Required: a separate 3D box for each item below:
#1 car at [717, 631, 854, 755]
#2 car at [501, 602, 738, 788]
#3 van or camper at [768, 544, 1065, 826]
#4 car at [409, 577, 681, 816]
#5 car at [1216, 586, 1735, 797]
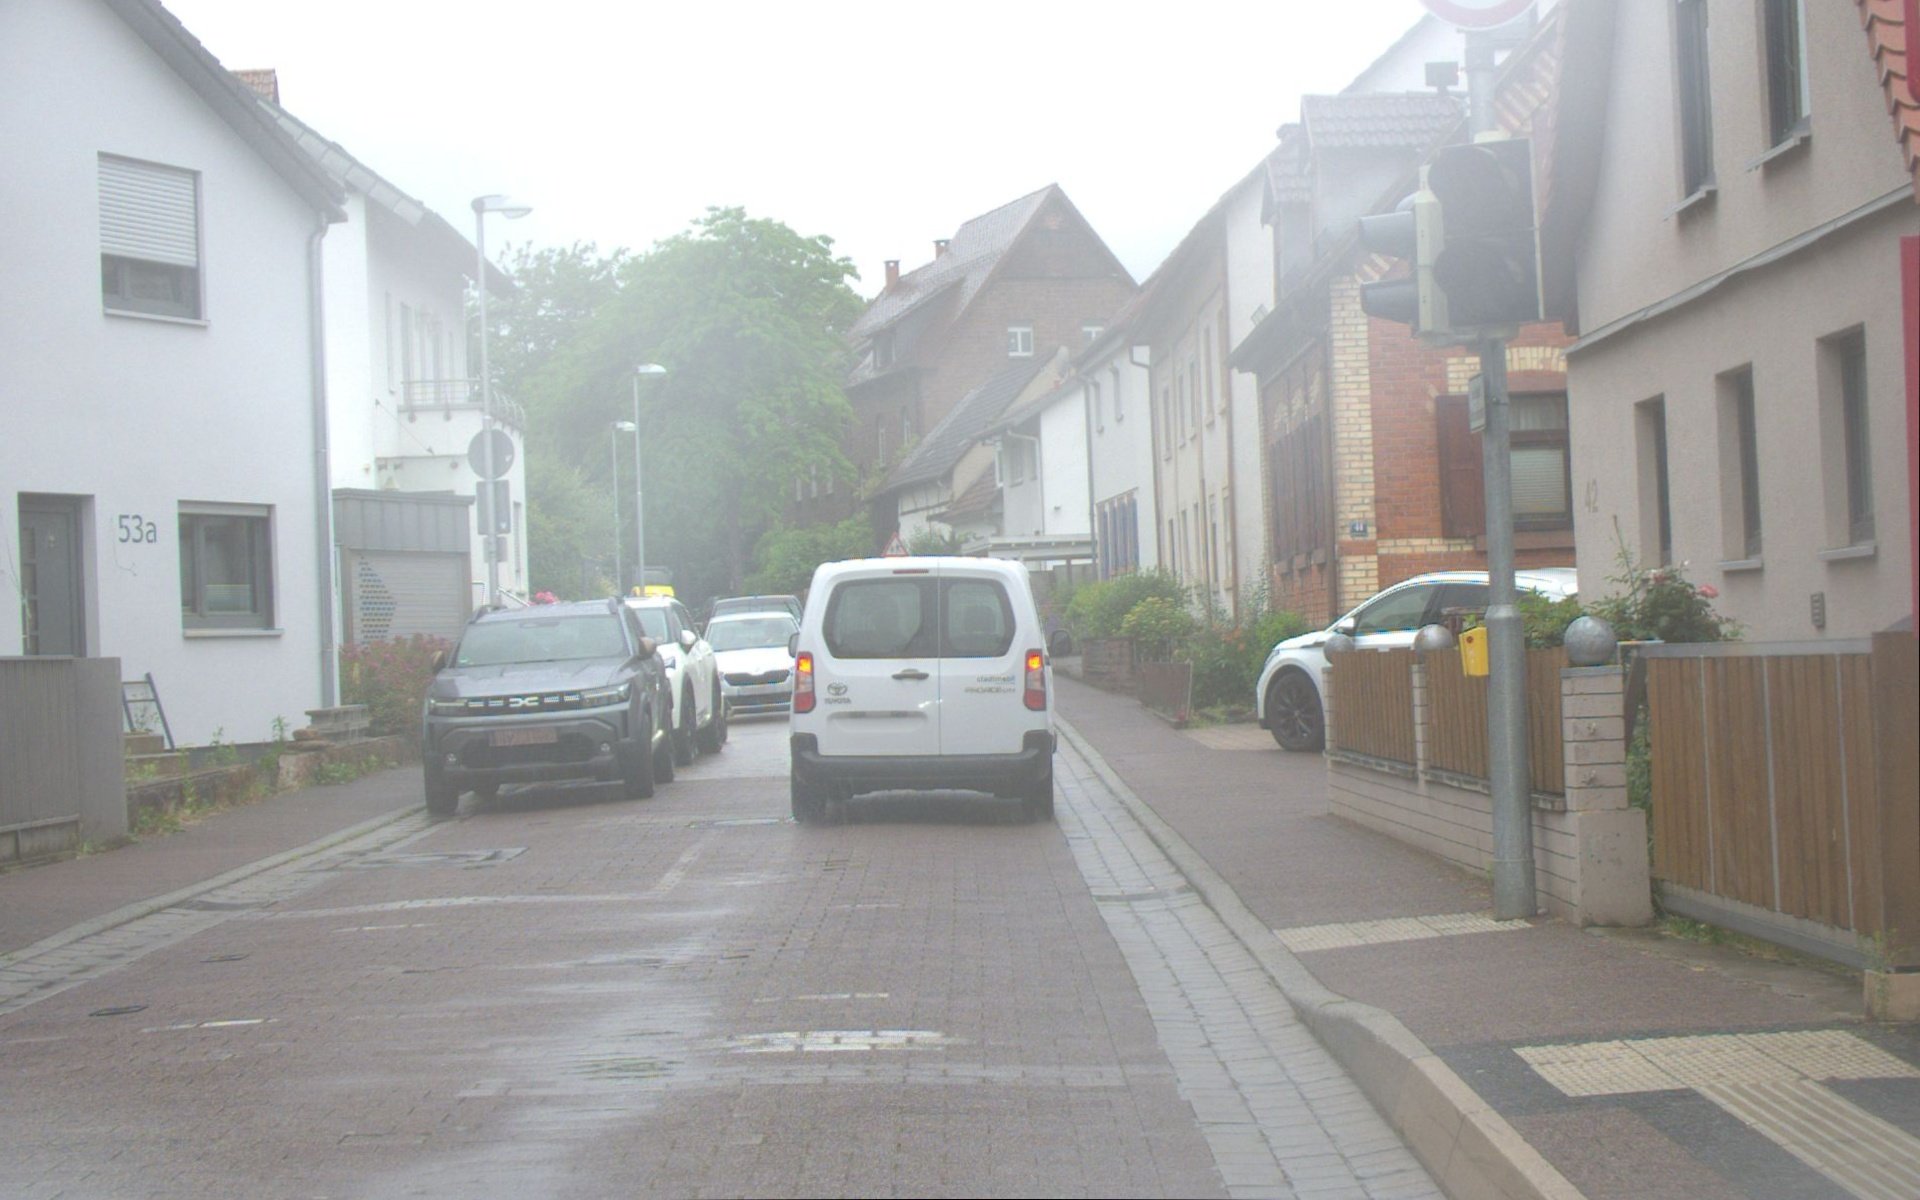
[{"bbox_3d":[-2.445,1.284,47.413,1.688,1.559,3.934,-2,-1,-5],"label":"car"},{"bbox_3d":[-3.370,0.937,34.814,1.748,1.631,4.418,-4,-1,1],"label":"car"},{"bbox_3d":[-0.291,0.542,24.564,1.943,1.845,4.000,0,0,0],"label":"van or camper"},{"bbox_3d":[-3.379,0.737,28.666,1.812,1.773,4.018,-2,0,-2],"label":"car"},{"bbox_3d":[4.347,0.715,29.717,1.871,1.584,4.619,-1,1,-32],"label":"car"}]
